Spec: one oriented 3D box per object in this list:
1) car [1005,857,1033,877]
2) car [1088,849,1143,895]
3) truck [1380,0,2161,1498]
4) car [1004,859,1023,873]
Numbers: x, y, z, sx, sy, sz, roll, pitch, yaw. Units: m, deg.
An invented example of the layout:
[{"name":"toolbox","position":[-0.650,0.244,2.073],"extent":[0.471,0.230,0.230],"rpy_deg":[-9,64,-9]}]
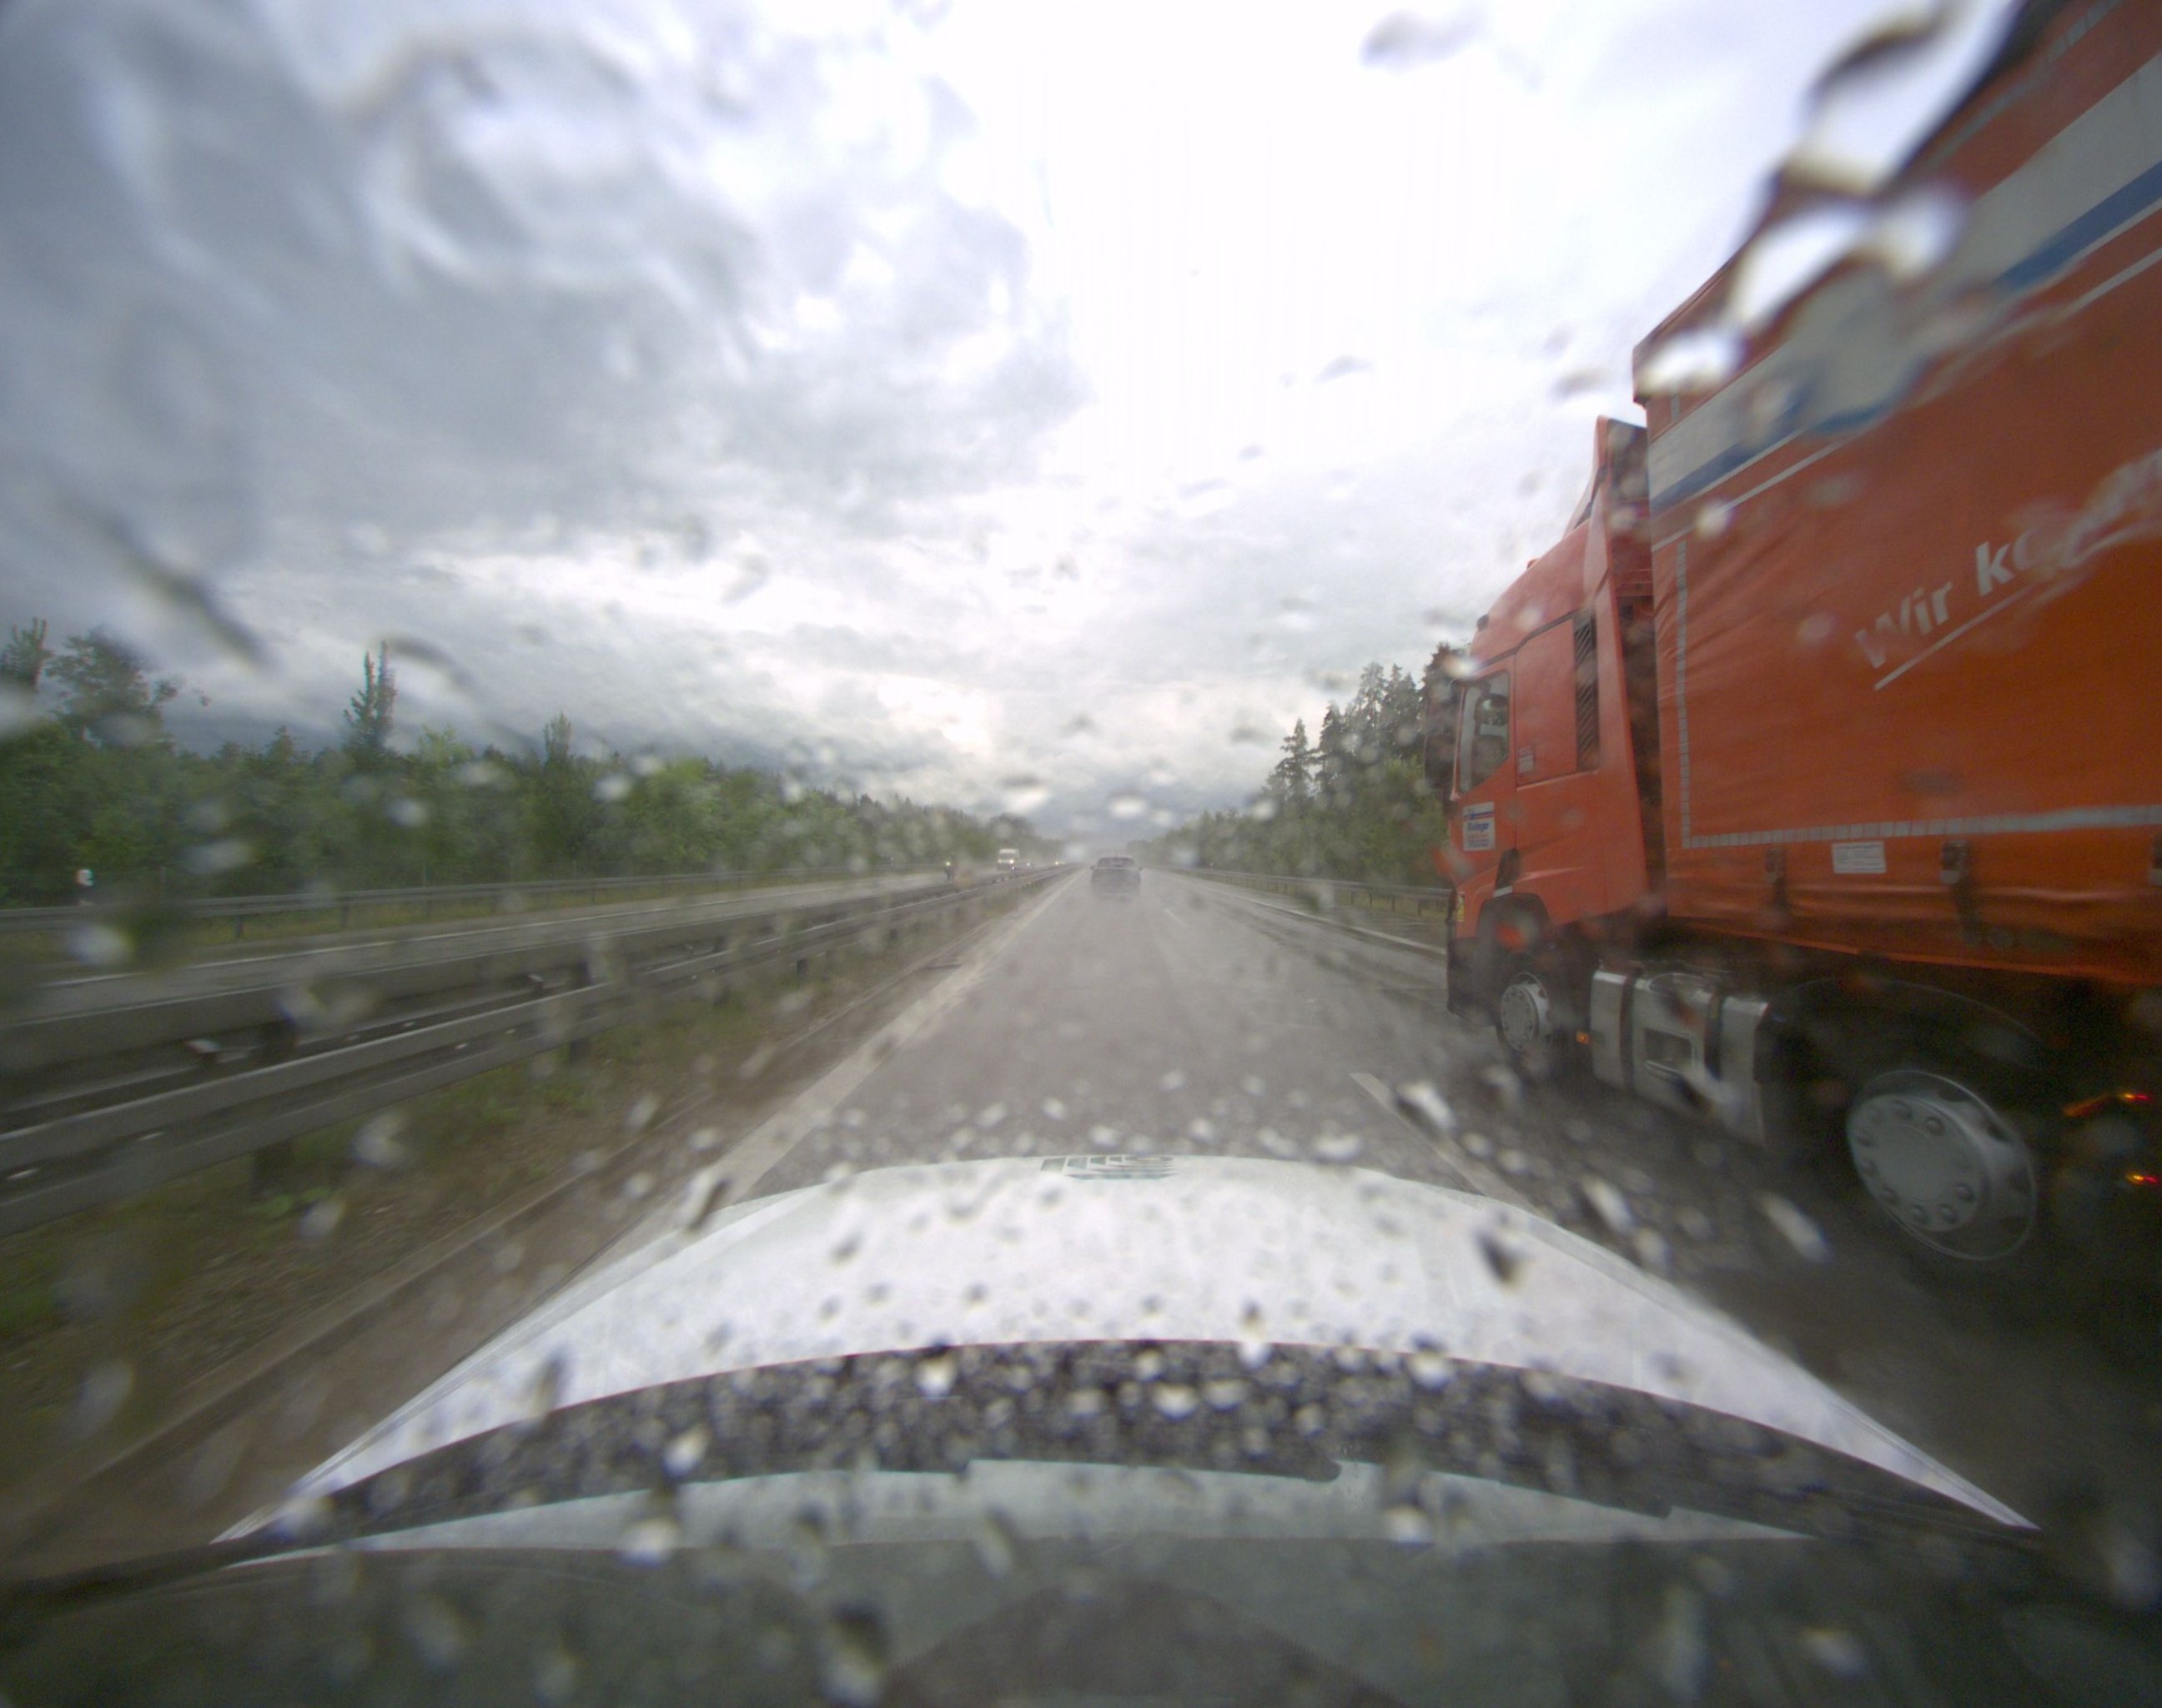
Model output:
[{"name":"car","position":[-5.178,1.120,68.483],"extent":[1.887,1.576,3.632],"rpy_deg":[2,-2,1]},{"name":"car","position":[1.249,0.710,30.854],"extent":[1.888,1.576,3.631],"rpy_deg":[2,-2,0]},{"name":"truck","position":[3.957,-0.536,4.403],"extent":[2.749,4.088,5.439],"rpy_deg":[-1,-1,2]},{"name":"car","position":[-7.872,1.416,95.210],"extent":[1.887,1.576,3.632],"rpy_deg":[2,-2,1]}]
